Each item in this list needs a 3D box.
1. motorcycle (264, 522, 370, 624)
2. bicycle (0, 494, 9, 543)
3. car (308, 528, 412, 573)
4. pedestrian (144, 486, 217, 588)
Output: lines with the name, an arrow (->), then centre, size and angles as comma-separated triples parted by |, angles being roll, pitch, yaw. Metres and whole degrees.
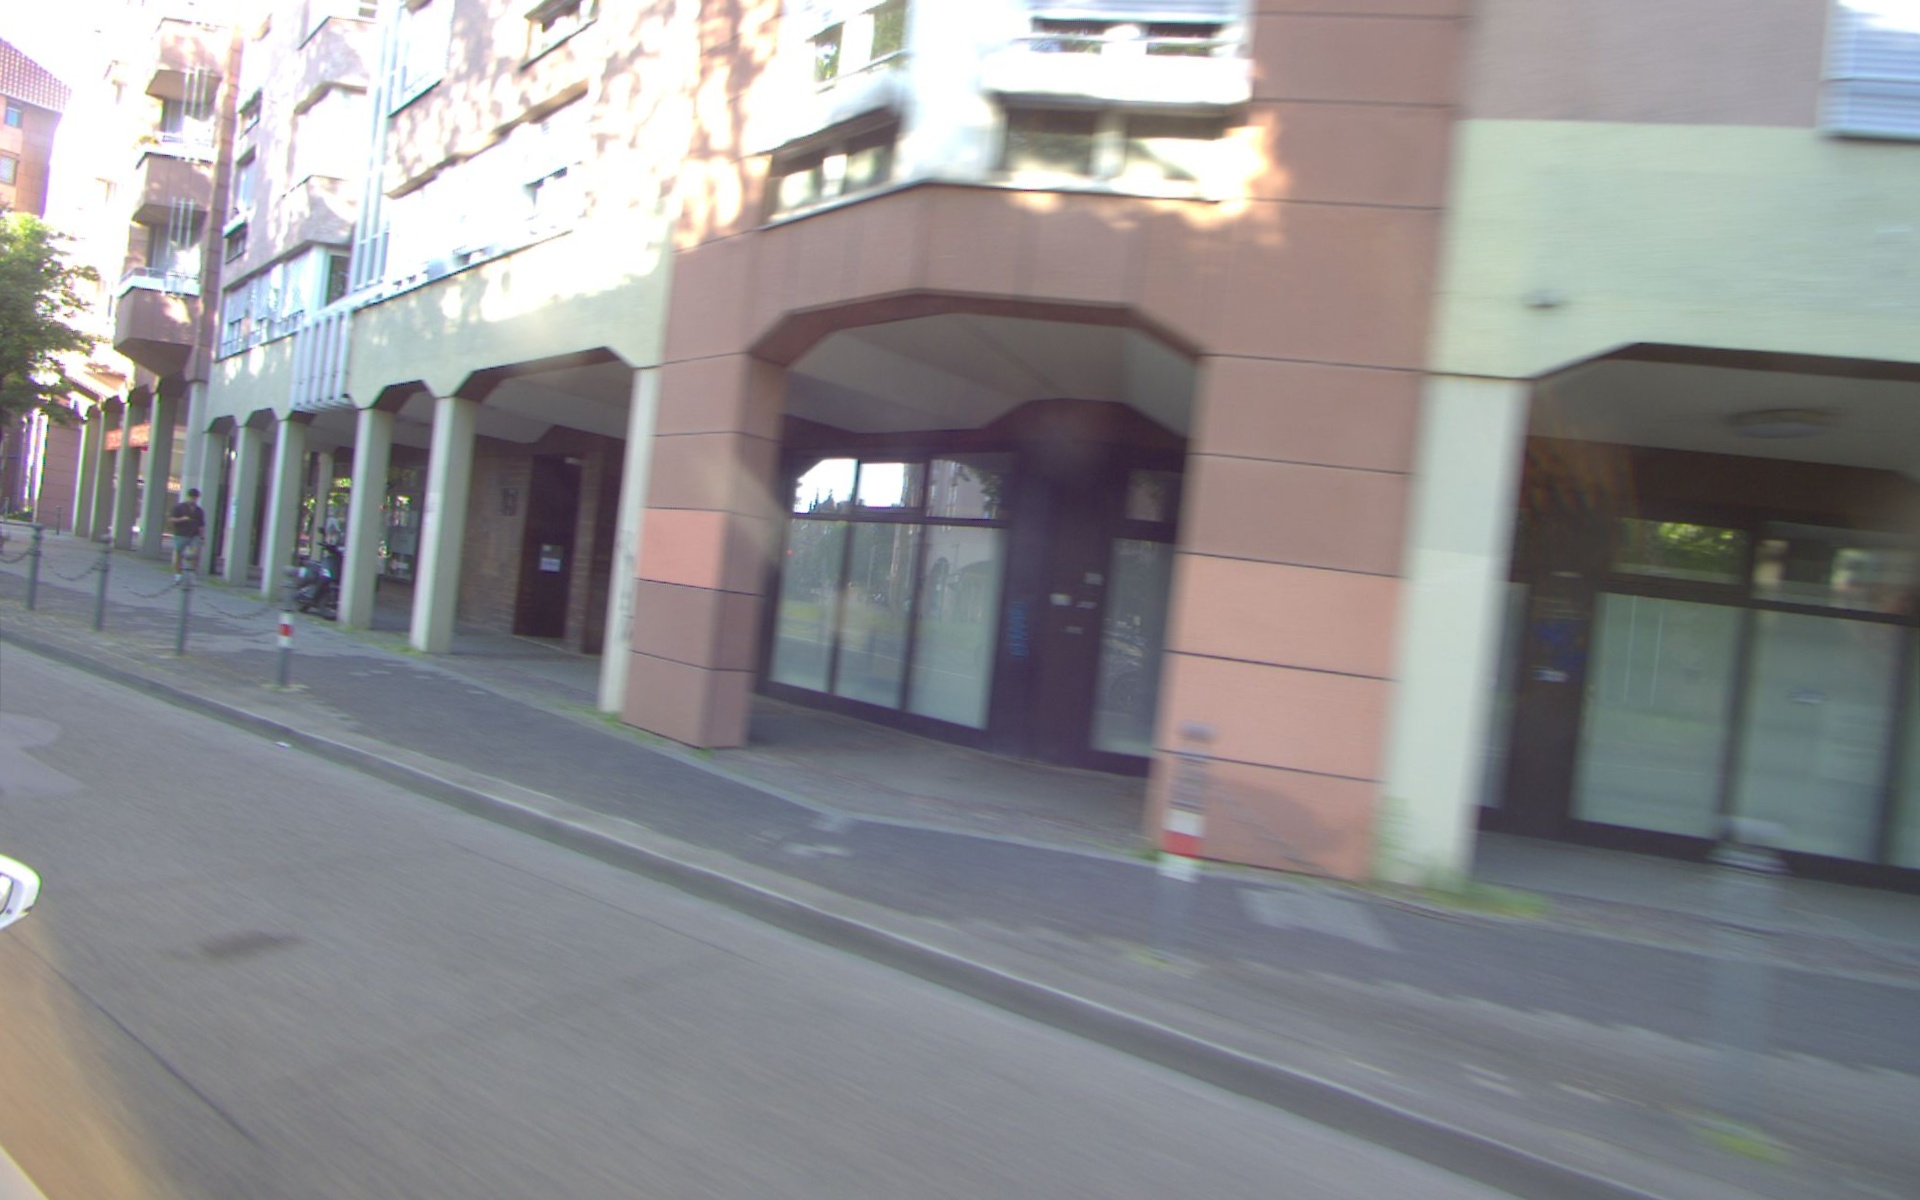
motorcycle -> -10.152, -0.442, 15.858 | 2.056, 1.389, 0.488 | 7, 1, 33
bicycle -> -25.373, -2.183, 26.283 | 0.620, 1.241, 1.902 | 6, 0, -45
car -> -31.049, -2.536, 52.180 | 1.776, 1.743, 4.180 | 7, 0, 40
pedestrian -> -14.420, -1.163, 18.606 | 0.825, 1.760, 0.780 | 7, 1, 41
